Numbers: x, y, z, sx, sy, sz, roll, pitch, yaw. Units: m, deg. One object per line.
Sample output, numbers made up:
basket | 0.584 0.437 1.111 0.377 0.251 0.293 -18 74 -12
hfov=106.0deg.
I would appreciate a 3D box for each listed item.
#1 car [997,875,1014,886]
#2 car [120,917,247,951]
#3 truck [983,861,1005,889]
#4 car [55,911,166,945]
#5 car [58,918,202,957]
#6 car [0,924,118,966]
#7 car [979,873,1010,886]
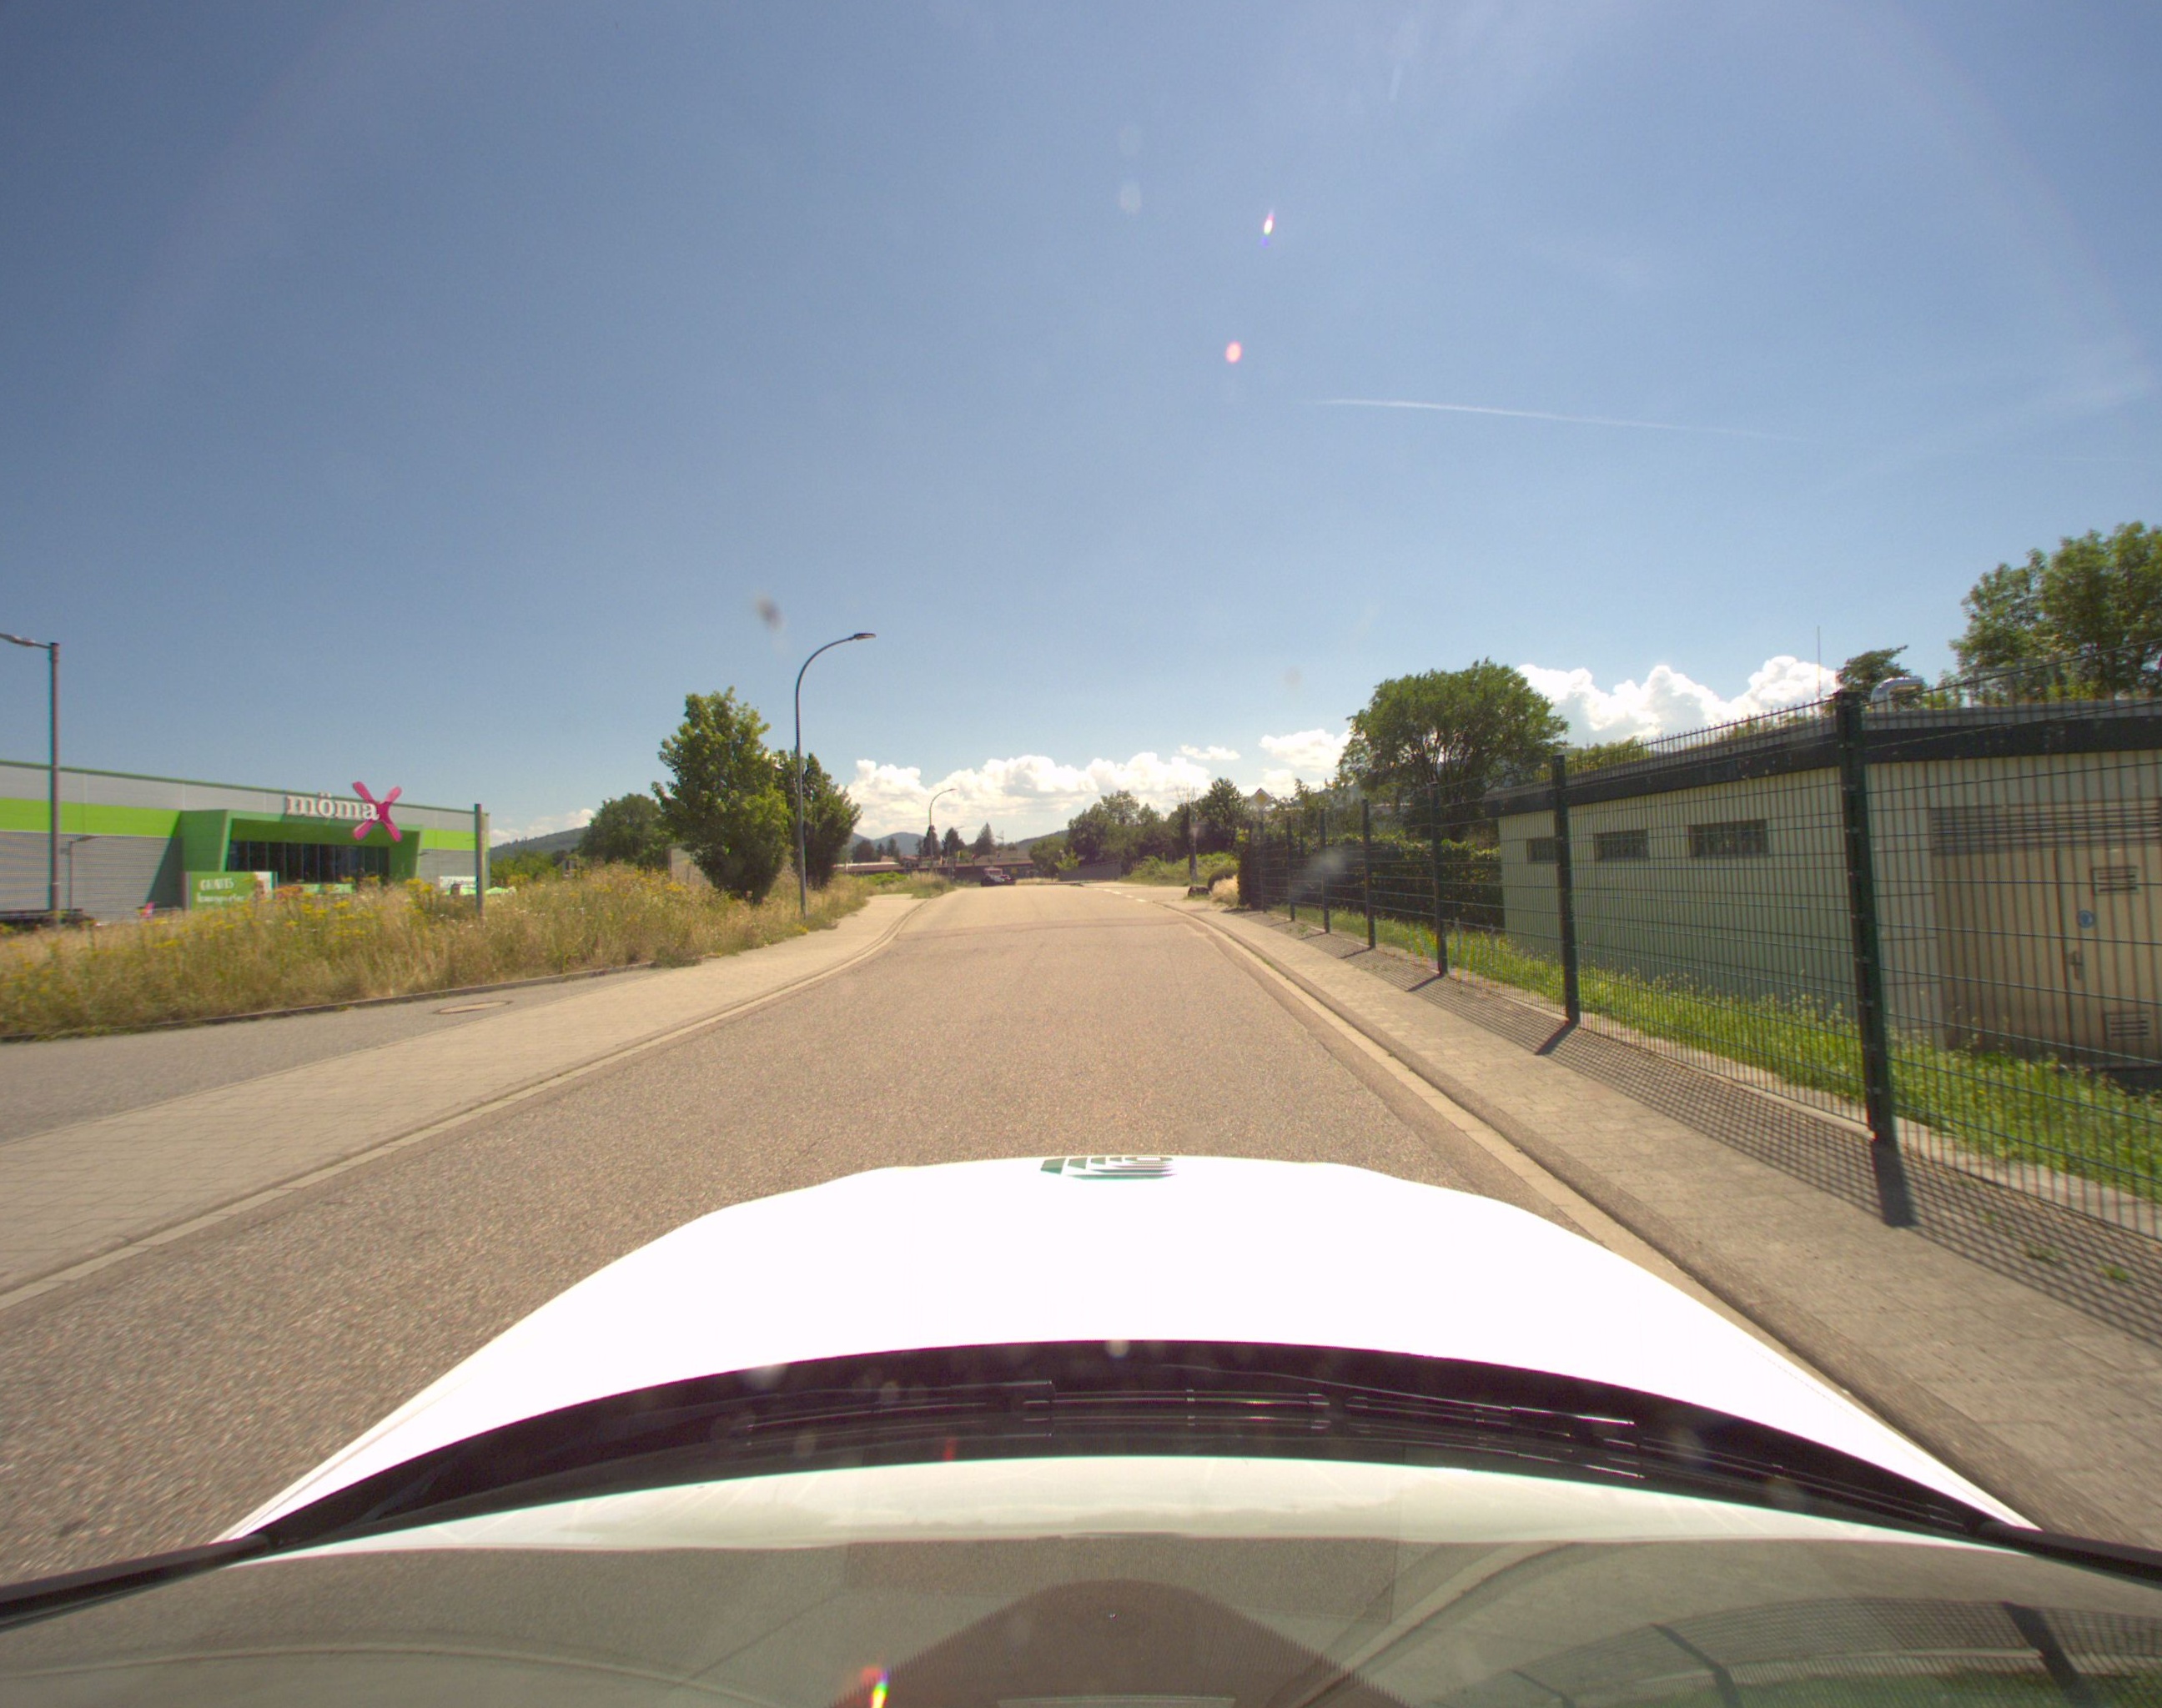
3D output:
car | -10.262 3.564 110.286 1.994 1.503 3.985 -1 -2 -10
car | -43.869 3.876 39.876 3.979 1.437 1.843 -1 -1 -4
truck | -14.314 3.530 133.593 2.995 4.181 11.768 -1 -3 -9
car | -57.794 4.379 48.562 4.243 1.761 2.000 -1 0 1
car | -43.345 3.775 37.200 3.979 1.513 1.997 -1 -1 -4
car | -43.011 3.746 33.584 3.979 1.467 1.997 -1 -1 -4
car | -10.952 3.239 103.285 3.723 1.634 1.898 -3 0 44
